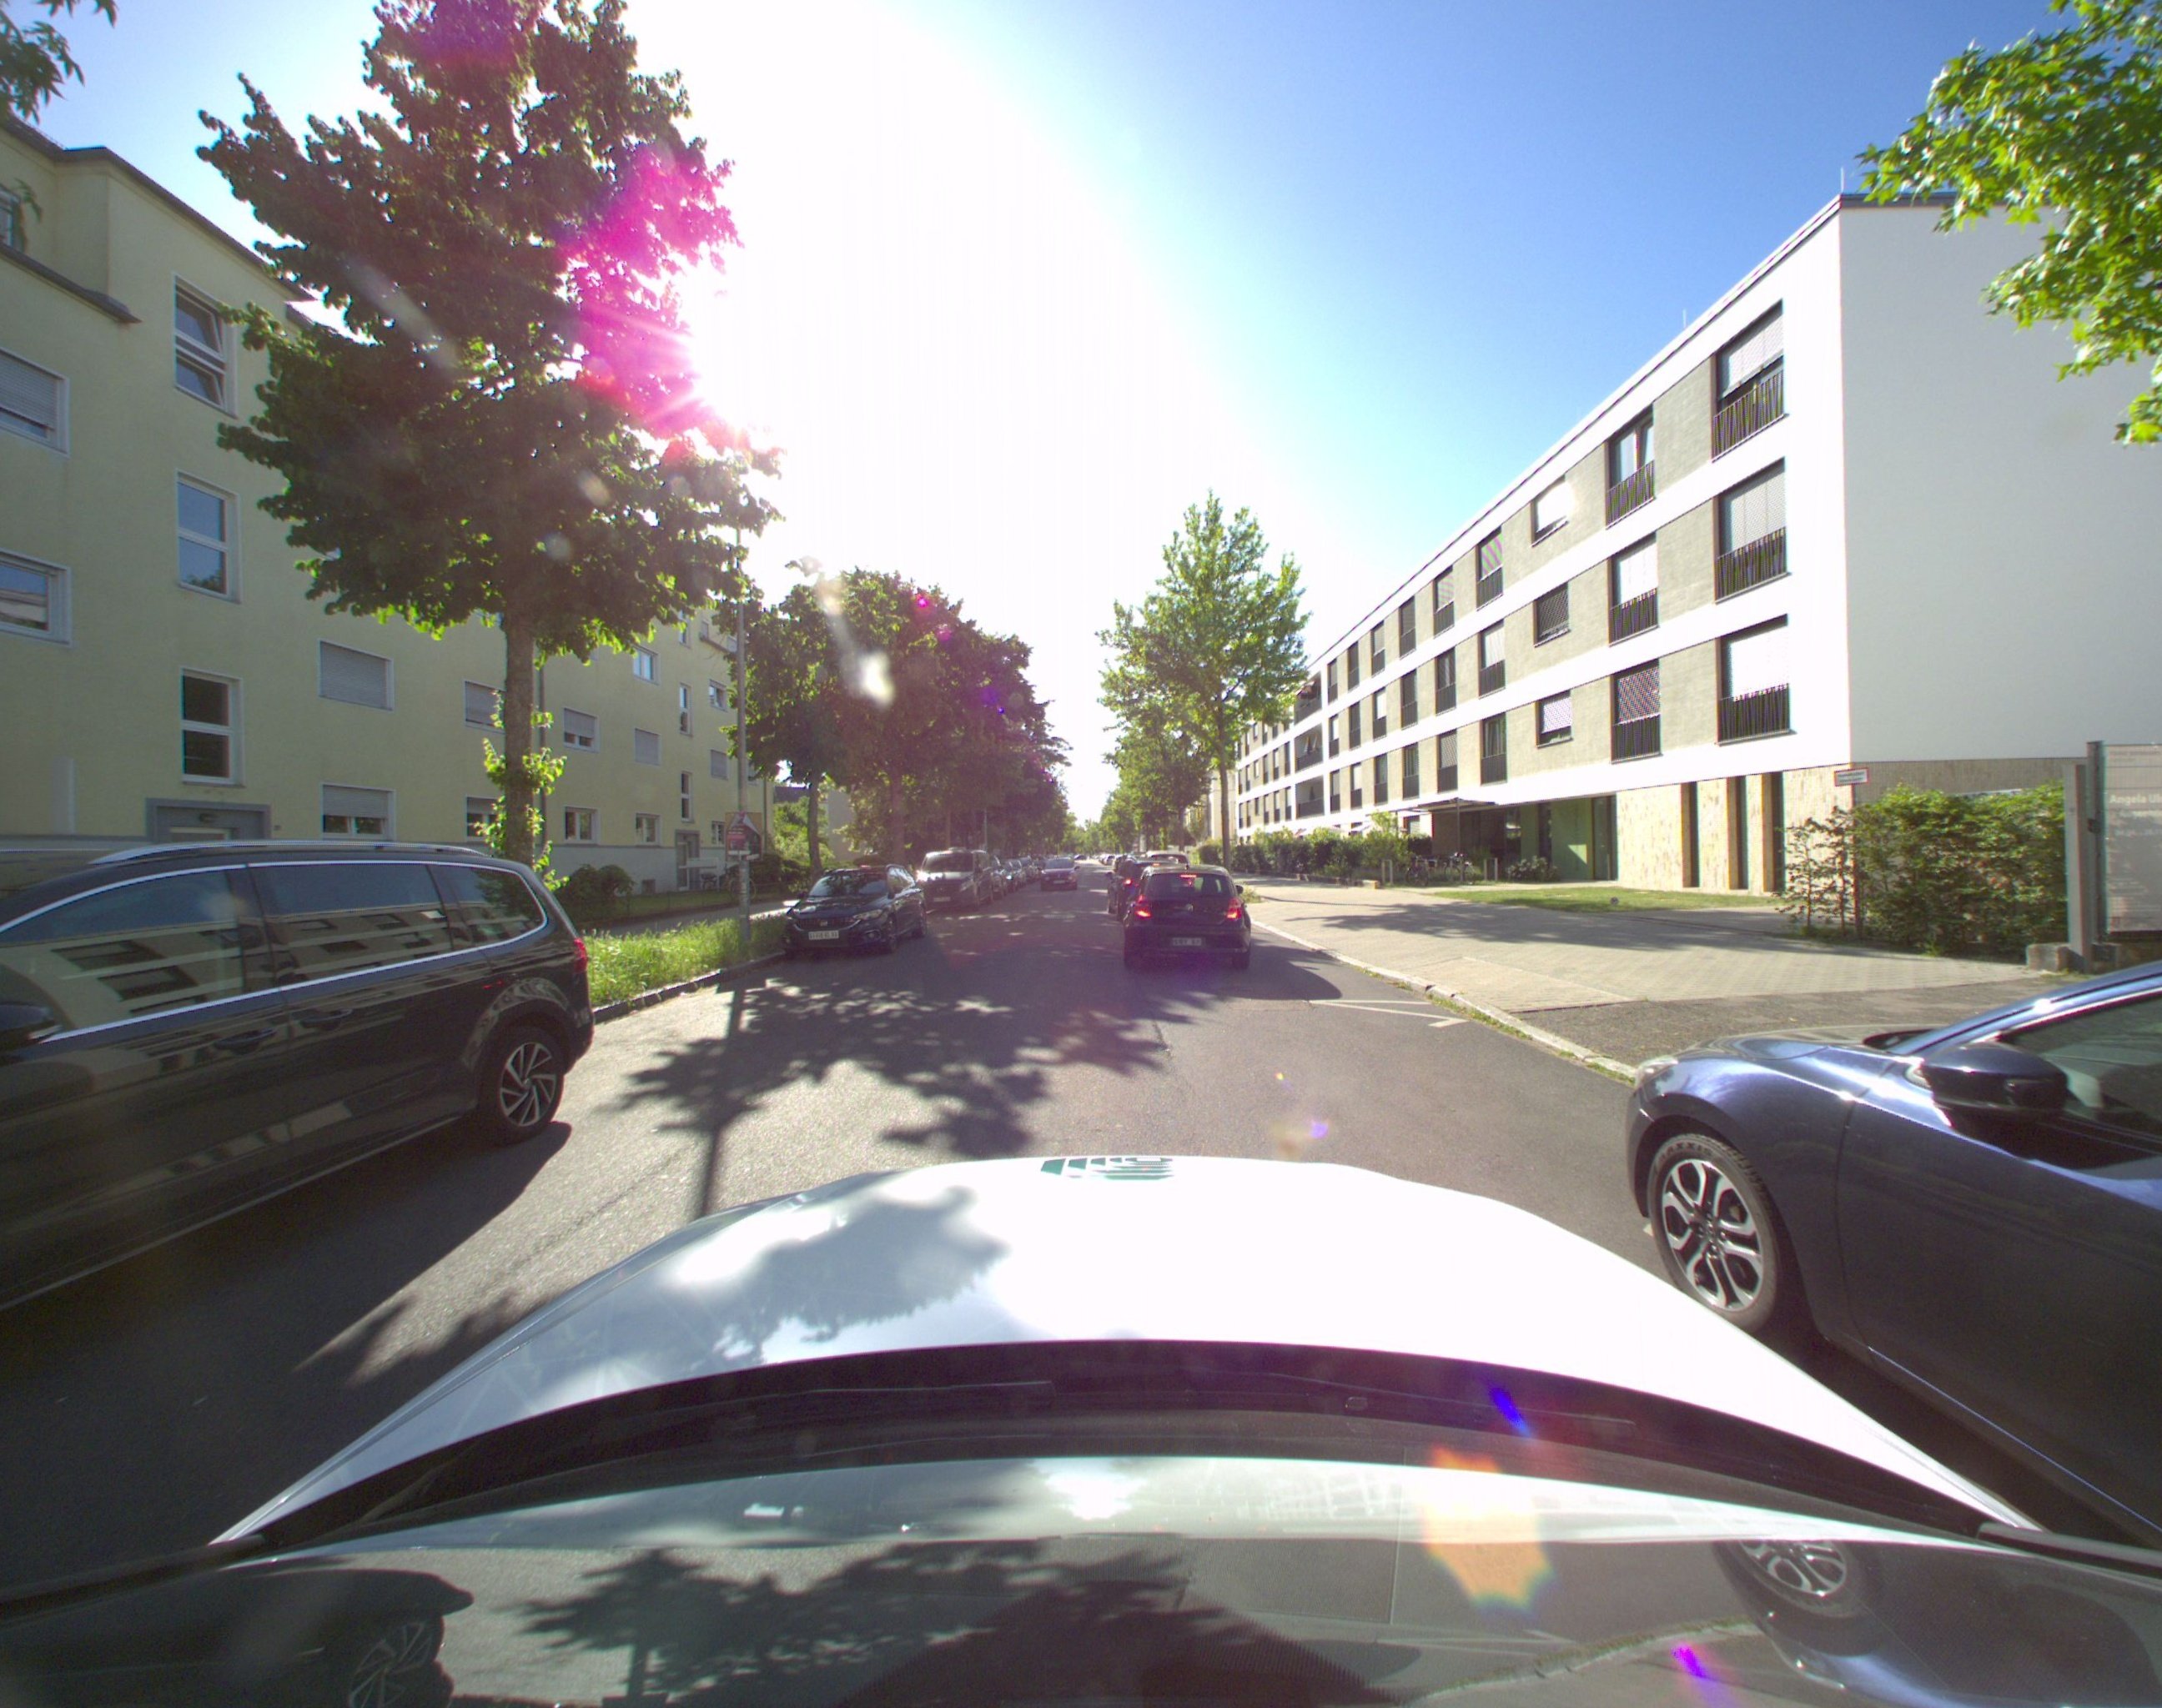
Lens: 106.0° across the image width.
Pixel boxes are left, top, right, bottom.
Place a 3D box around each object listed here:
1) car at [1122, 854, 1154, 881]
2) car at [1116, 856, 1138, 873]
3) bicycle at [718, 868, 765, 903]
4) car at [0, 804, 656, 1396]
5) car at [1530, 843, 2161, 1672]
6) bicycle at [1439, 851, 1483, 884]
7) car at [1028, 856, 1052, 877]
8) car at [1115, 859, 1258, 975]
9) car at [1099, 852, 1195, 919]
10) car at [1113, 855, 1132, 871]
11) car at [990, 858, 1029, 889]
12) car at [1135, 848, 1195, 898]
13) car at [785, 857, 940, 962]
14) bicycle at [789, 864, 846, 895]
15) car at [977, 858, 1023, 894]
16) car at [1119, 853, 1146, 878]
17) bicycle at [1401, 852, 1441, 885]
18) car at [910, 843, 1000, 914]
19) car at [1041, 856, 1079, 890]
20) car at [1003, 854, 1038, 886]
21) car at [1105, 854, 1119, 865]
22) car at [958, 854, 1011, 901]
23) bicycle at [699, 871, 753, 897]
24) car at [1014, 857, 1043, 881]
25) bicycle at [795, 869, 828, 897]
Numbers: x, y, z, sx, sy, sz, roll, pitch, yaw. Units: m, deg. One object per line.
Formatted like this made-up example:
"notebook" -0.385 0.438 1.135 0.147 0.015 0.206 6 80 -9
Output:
"car" 3.380 0.789 48.981 1.714 1.528 4.002 1 0 2
"car" 3.926 0.853 70.107 1.714 1.379 3.852 1 0 2
"bicycle" -10.610 0.958 25.506 0.592 0.991 1.928 -2 0 1
"car" -4.019 0.753 3.300 1.843 1.680 4.976 -4 0 0
"car" 2.770 0.720 1.469 1.694 1.449 4.083 -2 0 1
"bicycle" 12.797 0.432 27.482 0.544 1.055 1.778 -2 0 -2
"car" -3.197 0.979 64.464 1.607 1.543 3.865 -3 0 0
"car" 1.412 0.810 12.068 1.644 1.397 3.411 -2 0 0
"car" 1.504 0.688 19.941 1.647 1.425 3.994 -2 0 -5
"car" 3.808 0.815 74.895 1.714 1.480 3.852 1 0 2
"car" -3.603 0.982 41.796 1.607 1.427 3.725 -3 0 0
"car" 2.893 0.650 28.852 1.841 1.631 4.412 -1 -1 2
"car" -3.871 0.882 15.256 1.502 1.548 4.778 -4 0 0
"bicycle" -11.089 1.063 34.337 2.146 1.208 0.688 -2 0 -11
"car" -3.609 0.955 36.702 1.607 1.427 4.057 -3 0 0
"car" 3.429 0.740 54.990 1.714 1.641 3.852 1 0 2
"bicycle" 11.438 0.474 27.441 0.544 1.055 1.690 -2 0 -2
"car" -3.810 0.697 25.581 1.820 1.904 5.143 -3 0 1
"car" -0.915 0.830 36.979 1.500 1.426 3.178 -2 0 1
"car" -3.456 0.873 47.238 1.607 1.679 4.233 -3 0 0
"car" 4.174 0.723 110.191 1.713 1.480 3.855 -2 0 4
"car" -3.650 0.851 31.394 1.608 1.611 4.227 -3 0 -2
"bicycle" -14.811 1.237 33.982 1.920 0.991 0.595 -2 0 -7
"car" -3.376 0.928 52.941 1.607 1.452 3.865 -3 0 0
"bicycle" -10.396 1.120 31.465 0.592 0.991 1.928 -2 0 1
